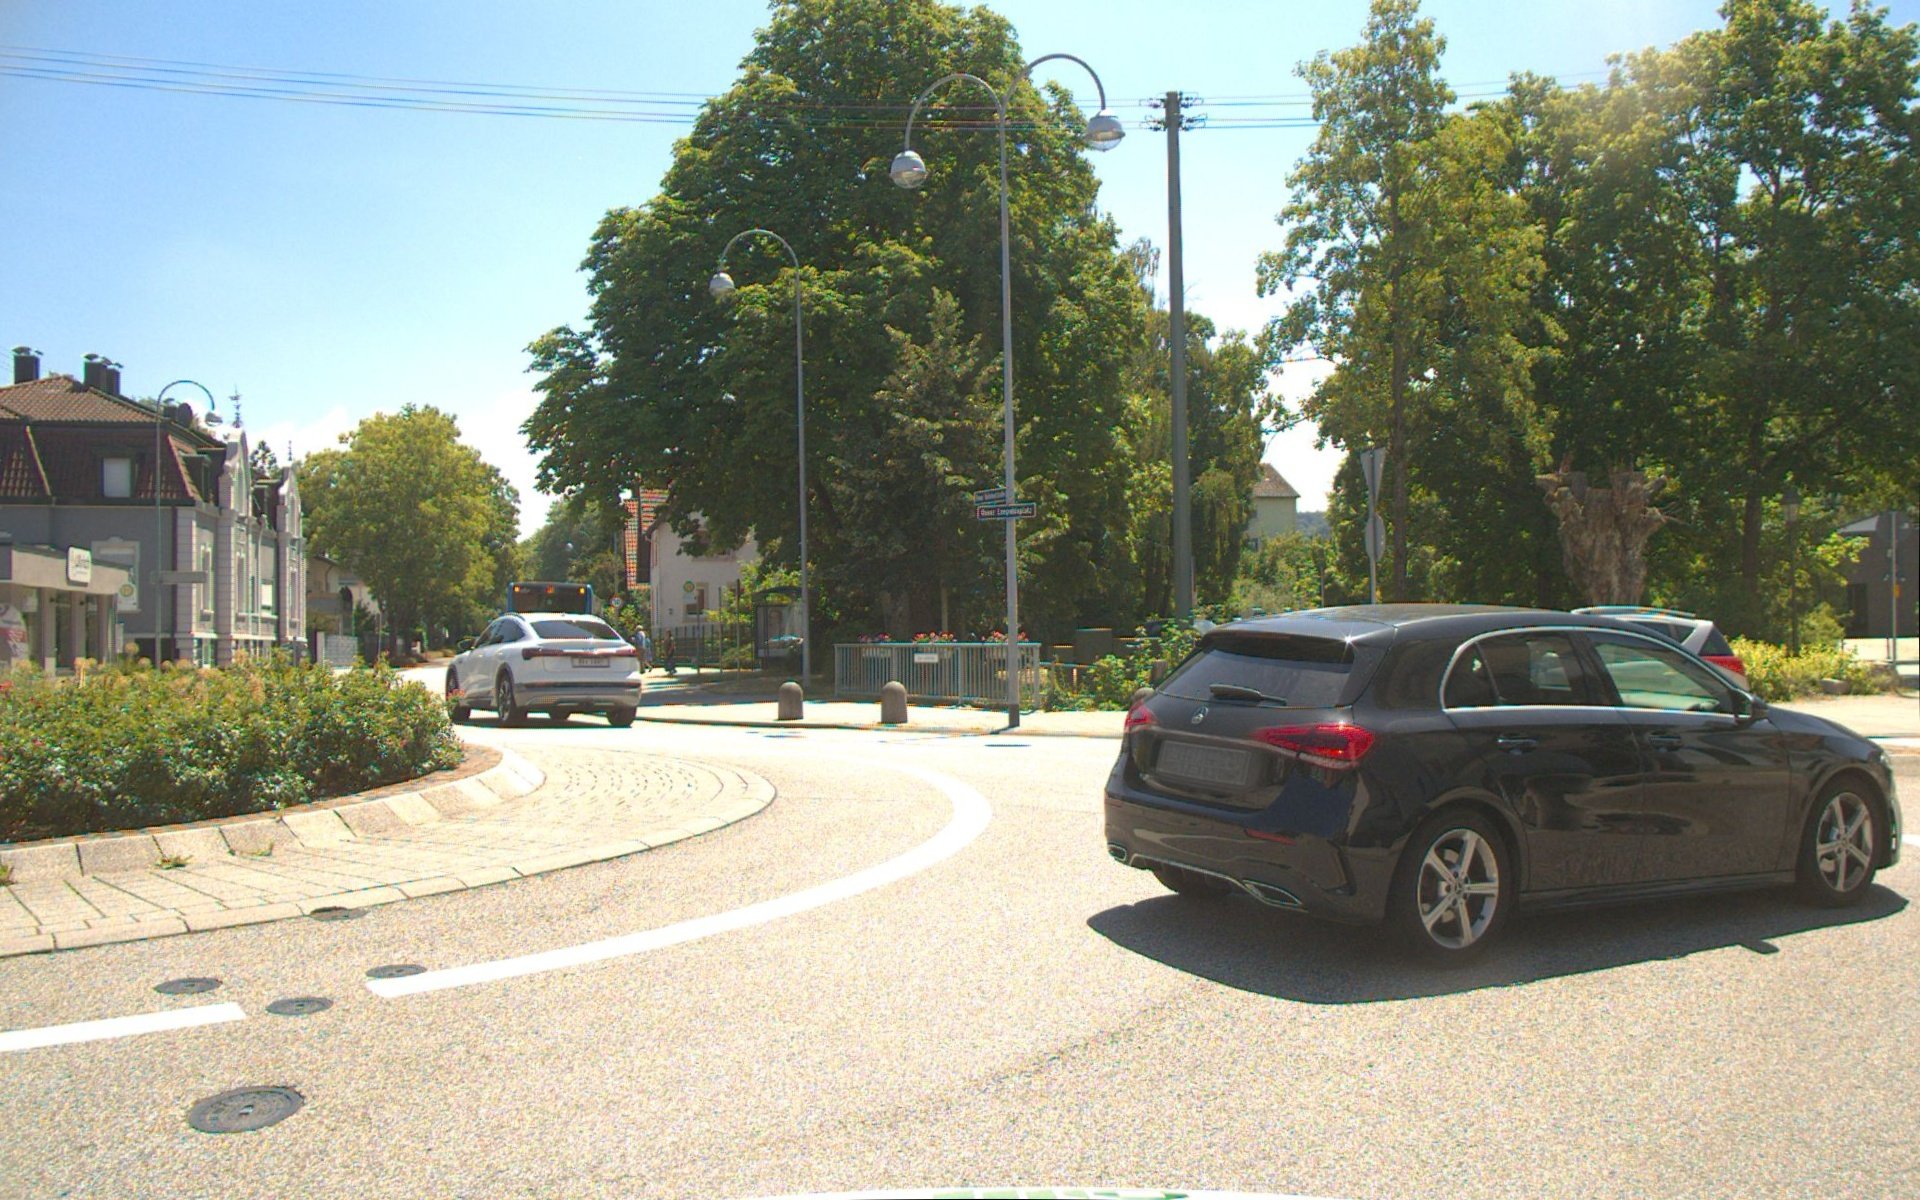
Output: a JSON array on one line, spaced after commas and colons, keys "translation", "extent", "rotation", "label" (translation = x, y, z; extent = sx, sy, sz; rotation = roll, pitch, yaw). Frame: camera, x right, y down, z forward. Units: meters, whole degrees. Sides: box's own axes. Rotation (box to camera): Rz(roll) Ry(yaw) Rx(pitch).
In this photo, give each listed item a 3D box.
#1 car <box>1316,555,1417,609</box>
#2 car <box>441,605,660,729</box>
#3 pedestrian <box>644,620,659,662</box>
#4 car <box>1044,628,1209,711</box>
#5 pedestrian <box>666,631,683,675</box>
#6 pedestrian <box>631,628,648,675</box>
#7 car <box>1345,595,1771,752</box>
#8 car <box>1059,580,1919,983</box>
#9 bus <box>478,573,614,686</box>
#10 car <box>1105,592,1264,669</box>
[{"translation": [16.607, -0.722, 67.749], "extent": [3.902, 2.049, 2.002], "rotation": [-2, -1, 13], "label": "car"}, {"translation": [-6.256, 0.971, 24.925], "extent": [1.881, 1.691, 4.357], "rotation": [1, -2, -34], "label": "car"}, {"translation": [-11.389, 1.519, 61.018], "extent": [0.481, 1.549, 0.540], "rotation": [-1, -1, -19], "label": "pedestrian"}, {"translation": [3.473, 1.416, 34.476], "extent": [3.013, 1.580, 1.620], "rotation": [-1, -1, -27], "label": "car"}, {"translation": [-9.812, 1.827, 56.868], "extent": [0.482, 1.479, 0.528], "rotation": [-1, -1, -19], "label": "pedestrian"}, {"translation": [-11.532, 1.843, 59.519], "extent": [0.494, 1.679, 0.576], "rotation": [-1, -1, -19], "label": "pedestrian"}, {"translation": [6.538, 0.761, 18.209], "extent": [4.122, 1.543, 1.740], "rotation": [-1, -1, -13], "label": "car"}, {"translation": [2.770, 0.655, 7.984], "extent": [4.378, 1.483, 1.750], "rotation": [0, 0, -31], "label": "car"}, {"translation": [-13.850, 1.113, 56.865], "extent": [3.641, 3.227, 18.014], "rotation": [1, -2, -11], "label": "bus"}, {"translation": [6.272, 0.865, 46.344], "extent": [3.921, 2.049, 1.992], "rotation": [-2, -1, 37], "label": "car"}]
